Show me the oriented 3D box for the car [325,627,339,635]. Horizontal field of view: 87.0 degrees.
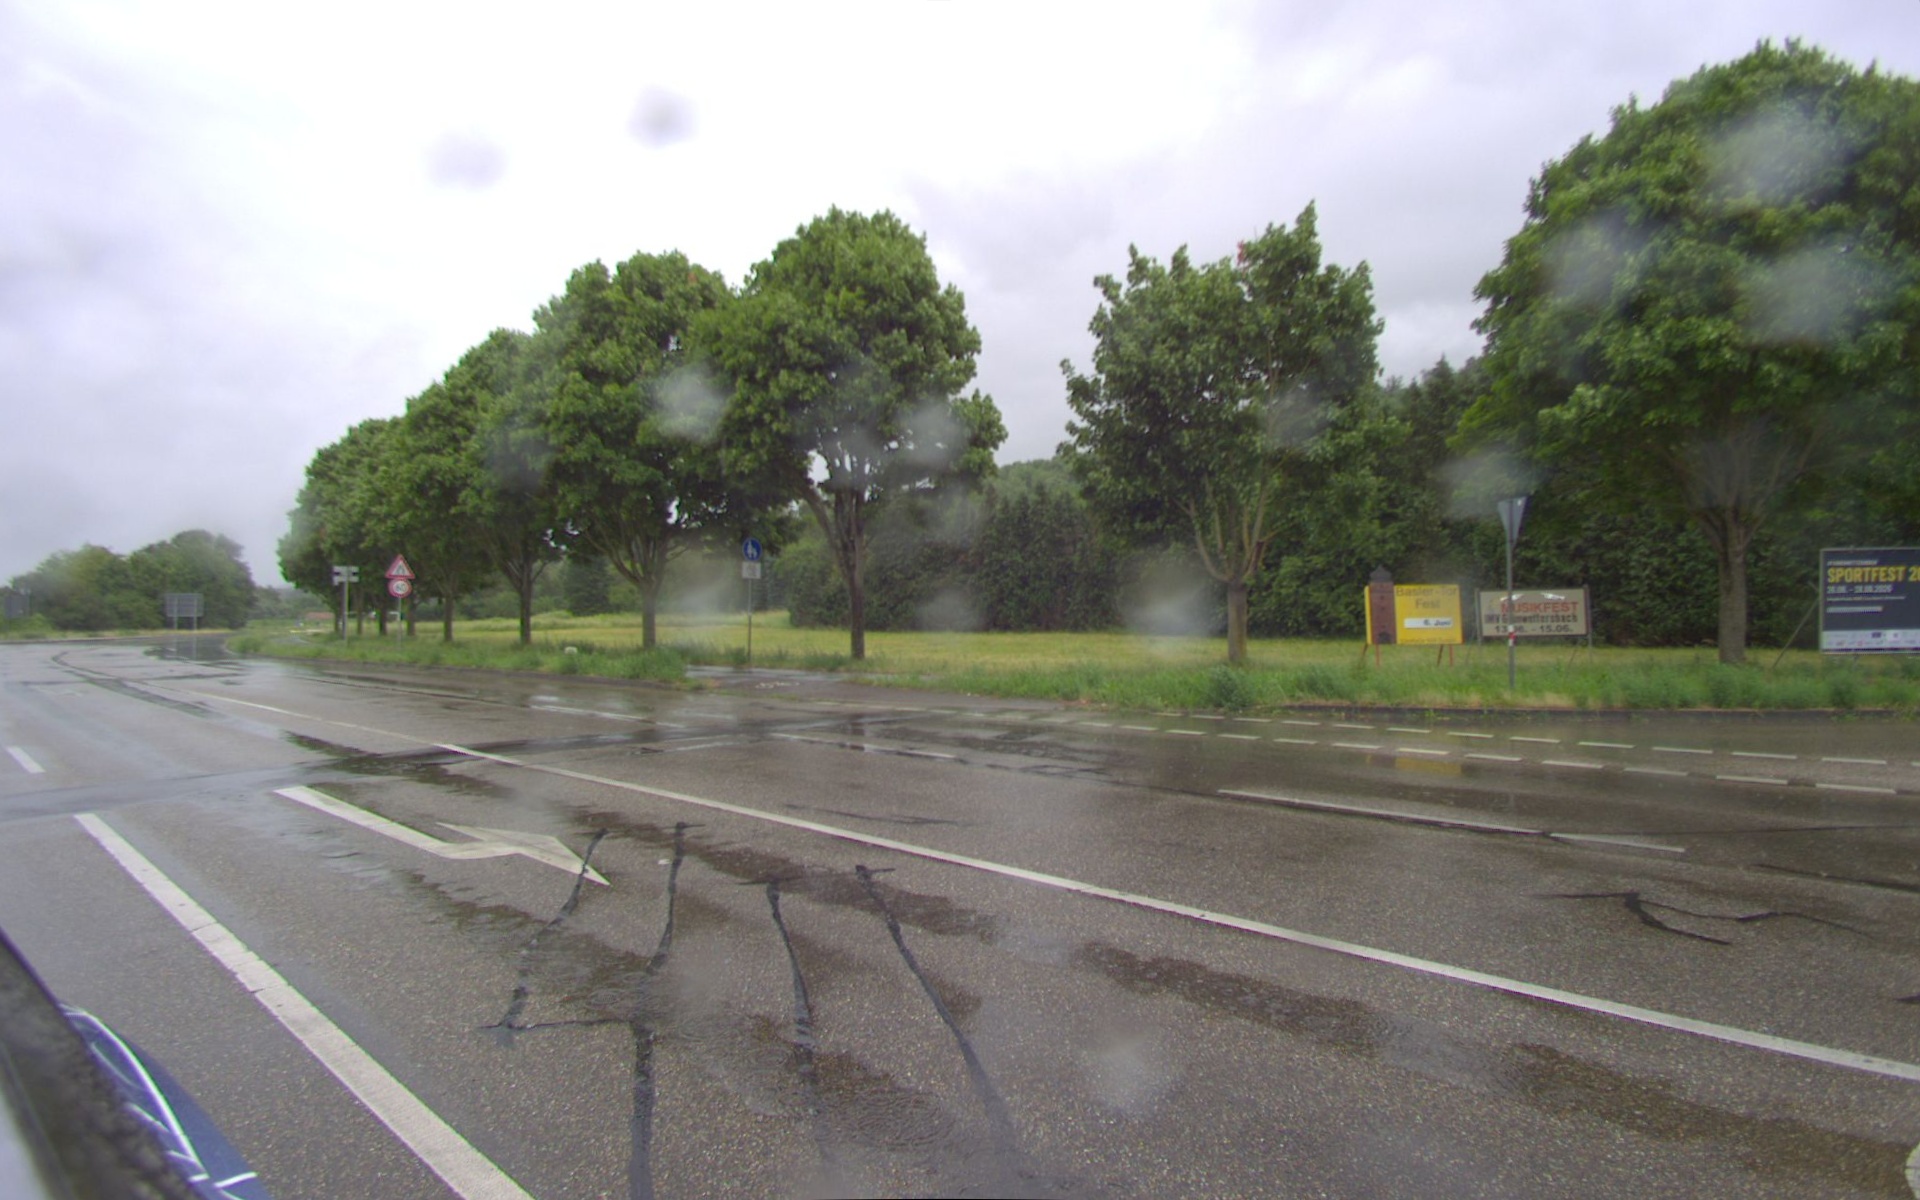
[{"bbox_3d":[-118.288,5.807,190.745,1.852,1.585,4.659,2,-2,-27],"label":"car"}]
